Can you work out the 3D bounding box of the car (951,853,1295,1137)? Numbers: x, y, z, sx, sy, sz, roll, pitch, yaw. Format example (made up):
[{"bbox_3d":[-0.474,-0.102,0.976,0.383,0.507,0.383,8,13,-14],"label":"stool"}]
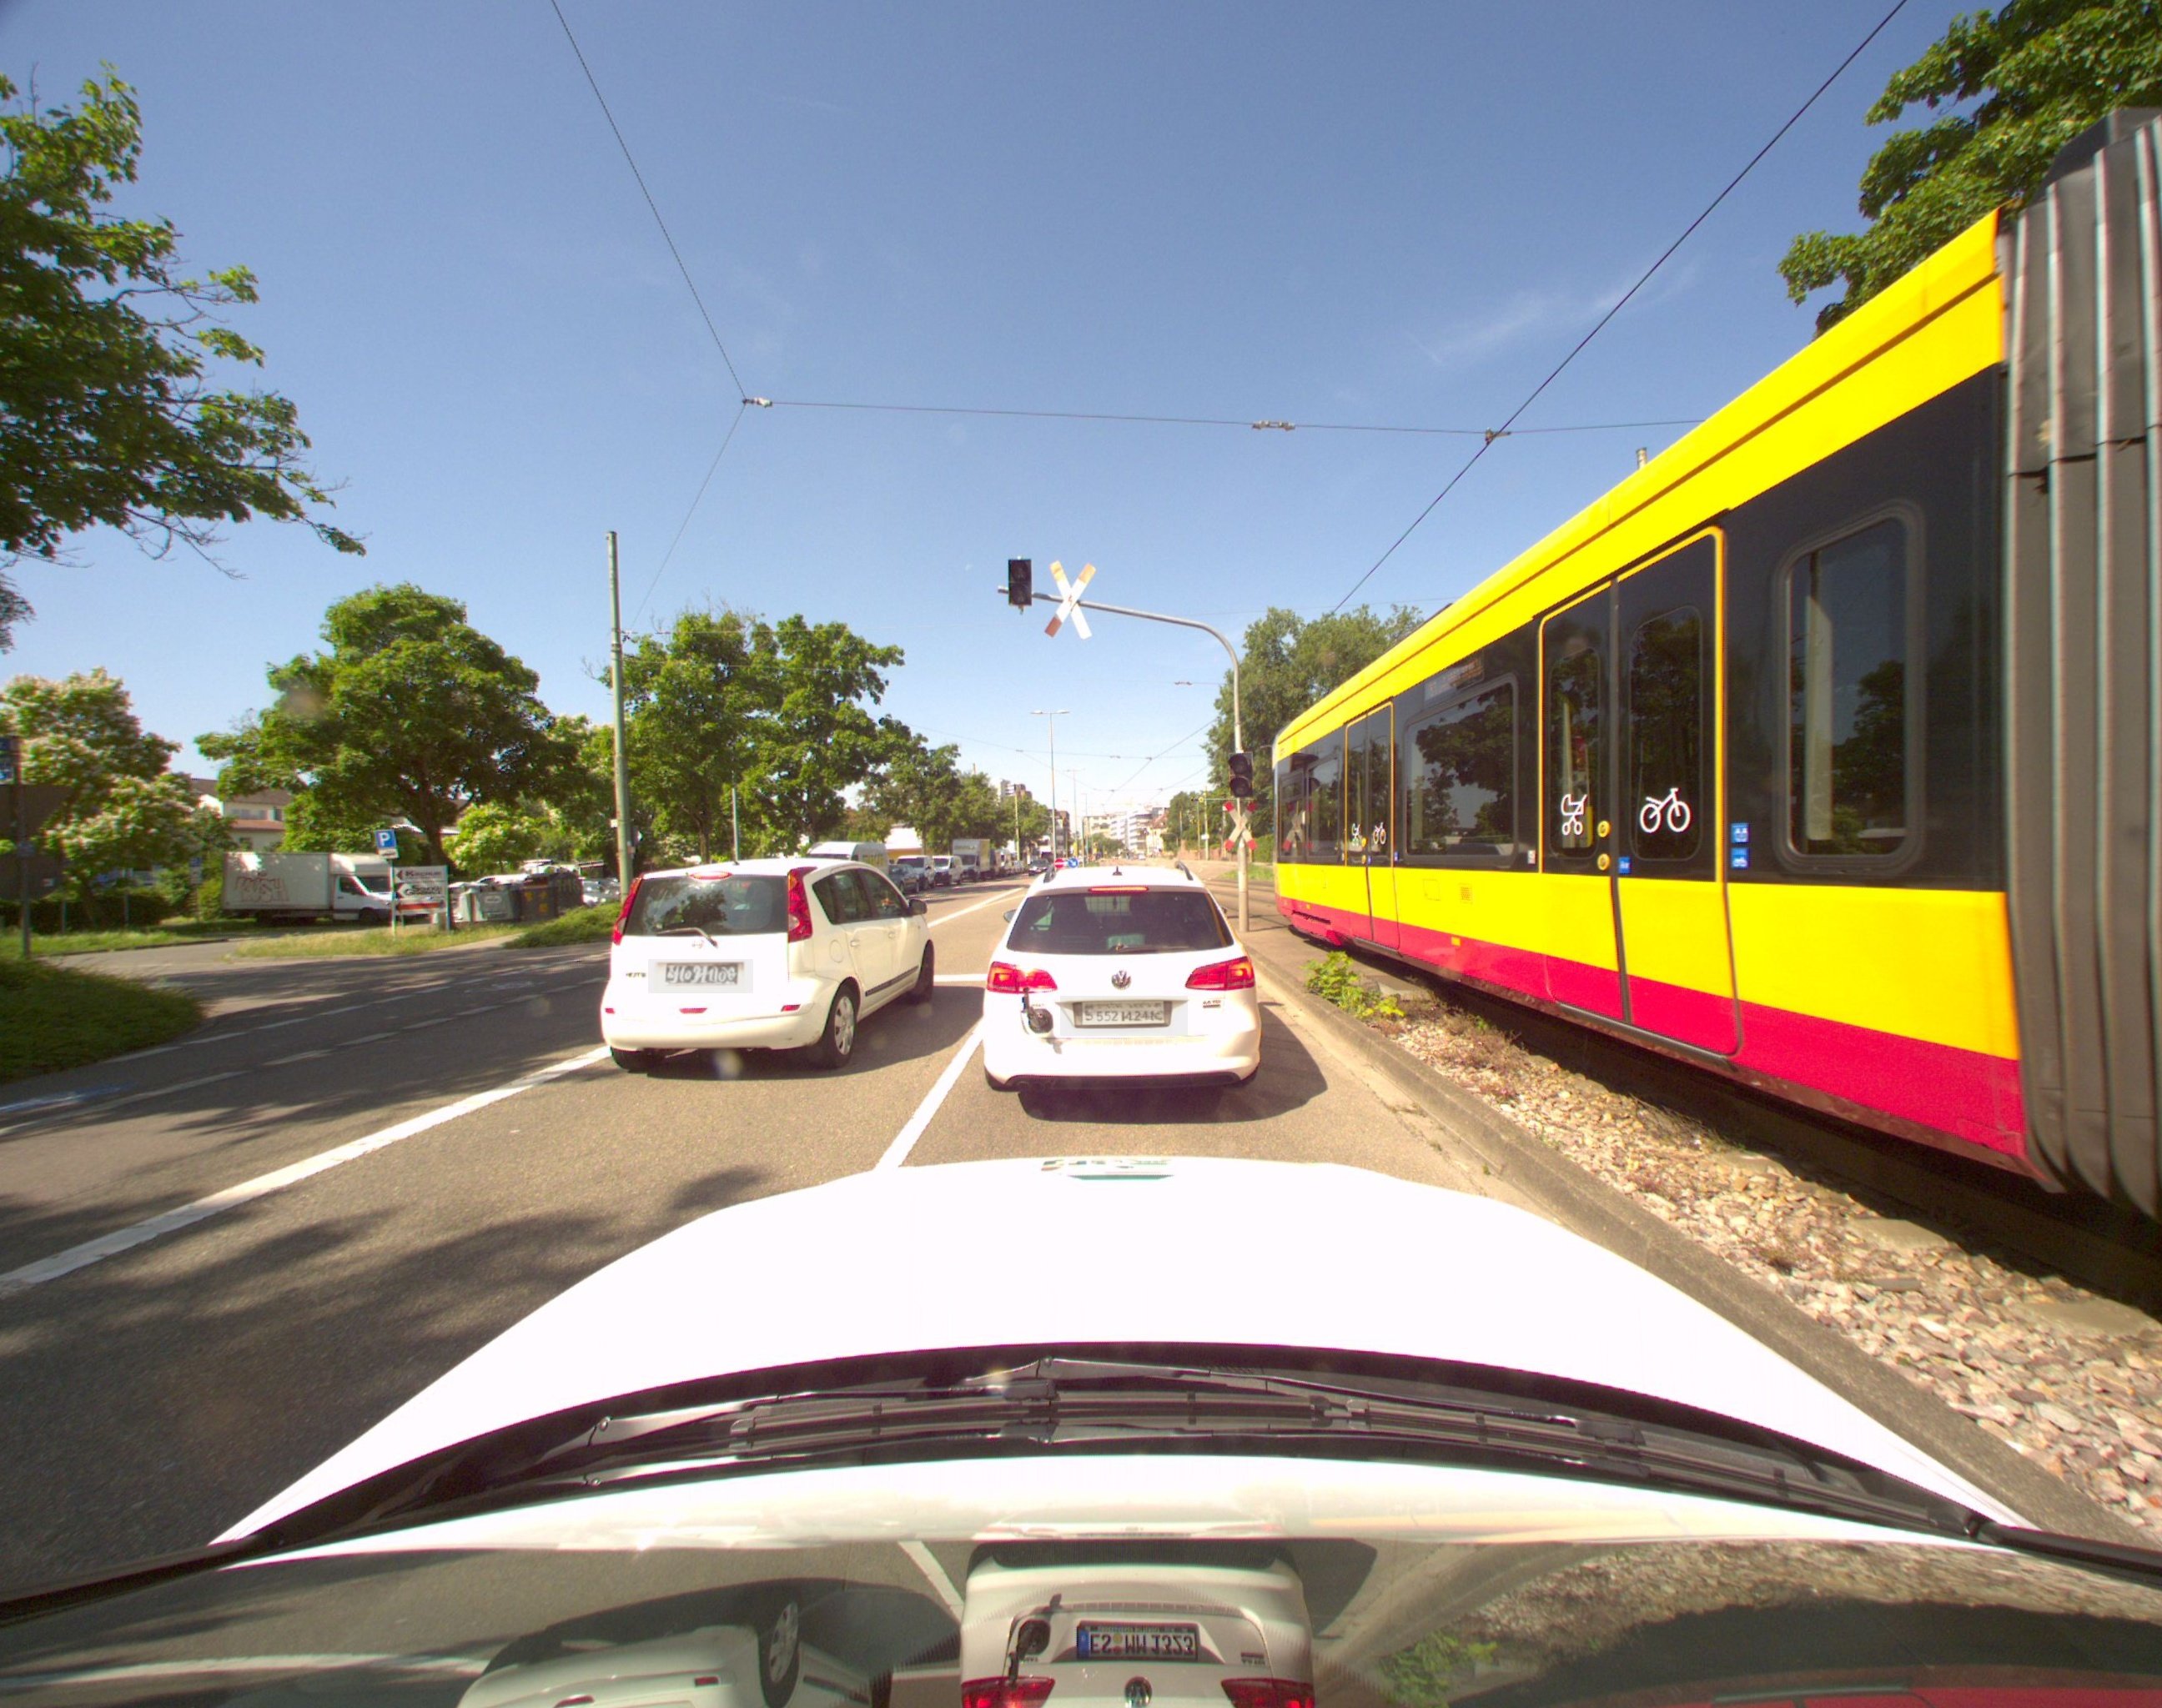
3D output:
[{"bbox_3d":[0.284,0.748,6.315,1.756,1.430,4.002,-3,0,2],"label":"car"}]

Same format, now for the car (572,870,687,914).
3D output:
[{"bbox_3d":[-19.877,1.645,35.996,3.977,1.610,1.729,-4,-1,-3],"label":"car"}]

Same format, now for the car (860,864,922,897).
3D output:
[{"bbox_3d":[-9.033,1.240,39.128,1.856,1.415,4.281,0,0,1],"label":"car"}]

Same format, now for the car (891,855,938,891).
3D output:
[{"bbox_3d":[-9.256,1.011,45.671,1.859,1.868,5.068,0,0,-3],"label":"car"}]

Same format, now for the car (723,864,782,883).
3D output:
[{"bbox_3d":[-31.412,1.854,77.988,4.780,1.787,2.062,0,-1,-3],"label":"car"}]

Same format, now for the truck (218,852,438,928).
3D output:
[{"bbox_3d":[-32.387,1.498,35.233,6.978,3.110,2.677,0,0,0],"label":"truck"}]

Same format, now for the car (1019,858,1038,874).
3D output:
[{"bbox_3d":[-6.319,1.394,98.929,1.856,1.868,5.415,0,0,2],"label":"car"}]

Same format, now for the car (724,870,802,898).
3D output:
[{"bbox_3d":[-19.417,1.844,49.878,3.977,1.415,1.729,-4,-1,-3],"label":"car"}]

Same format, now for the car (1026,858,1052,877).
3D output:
[{"bbox_3d":[-3.576,1.116,70.196,1.698,1.473,4.593,-3,0,3],"label":"car"}]

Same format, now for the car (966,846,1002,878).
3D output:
[{"bbox_3d":[-8.092,0.645,68.679,2.114,2.516,5.737,0,0,3],"label":"car"}]

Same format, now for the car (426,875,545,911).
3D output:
[{"bbox_3d":[-31.725,2.070,43.505,4.780,1.787,2.062,0,-1,-3],"label":"car"}]

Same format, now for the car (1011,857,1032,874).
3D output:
[{"bbox_3d":[-6.705,1.259,92.018,1.856,1.868,5.415,0,0,2],"label":"car"}]

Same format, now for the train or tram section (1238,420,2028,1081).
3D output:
[{"bbox_3d":[4.332,-0.626,10.180,2.860,3.855,10.542,-3,0,2],"label":"train or tram section"}]

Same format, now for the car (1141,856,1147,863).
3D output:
[{"bbox_3d":[17.862,1.598,232.138,1.602,1.863,3.732,0,-1,2],"label":"car"}]

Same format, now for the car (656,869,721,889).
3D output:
[{"bbox_3d":[-35.142,2.230,73.062,4.780,1.787,2.062,0,-1,-3],"label":"car"}]

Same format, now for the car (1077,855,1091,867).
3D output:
[{"bbox_3d":[0.411,0.931,112.865,1.698,1.473,4.593,-3,0,3],"label":"car"}]

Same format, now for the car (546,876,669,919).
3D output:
[{"bbox_3d":[-19.631,1.786,33.857,3.977,1.415,1.729,-4,-1,-3],"label":"car"}]

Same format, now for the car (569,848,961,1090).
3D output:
[{"bbox_3d":[-2.414,0.755,7.603,1.655,1.547,4.550,-1,0,3],"label":"car"}]

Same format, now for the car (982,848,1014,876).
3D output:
[{"bbox_3d":[-7.711,0.708,76.111,2.114,2.516,5.737,0,0,3],"label":"car"}]

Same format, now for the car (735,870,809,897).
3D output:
[{"bbox_3d":[-19.746,1.890,52.185,3.977,1.415,1.729,-4,-1,-3],"label":"car"}]

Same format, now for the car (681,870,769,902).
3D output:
[{"bbox_3d":[-19.496,1.743,44.728,3.977,1.415,1.729,-4,-1,-3],"label":"car"}]

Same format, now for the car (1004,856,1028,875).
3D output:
[{"bbox_3d":[-6.760,1.204,85.200,1.856,1.868,5.415,0,0,2],"label":"car"}]

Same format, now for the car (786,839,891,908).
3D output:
[{"bbox_3d":[-9.546,0.702,32.666,2.114,2.516,5.822,0,0,4],"label":"car"}]

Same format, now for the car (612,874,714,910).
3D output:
[{"bbox_3d":[-20.256,1.824,39.601,3.977,1.415,1.729,-4,-1,-3],"label":"car"}]

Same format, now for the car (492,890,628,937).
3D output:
[{"bbox_3d":[-19.865,2.250,31.164,3.977,1.415,1.729,-4,-1,-3],"label":"car"}]

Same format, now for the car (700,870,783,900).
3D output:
[{"bbox_3d":[-19.565,1.789,47.062,3.977,1.415,1.729,-4,-1,-3],"label":"car"}]

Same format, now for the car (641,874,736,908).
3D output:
[{"bbox_3d":[-20.299,1.892,42.209,3.977,1.415,1.729,-4,-1,-3],"label":"car"}]

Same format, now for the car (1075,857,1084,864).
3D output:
[{"bbox_3d":[-0.287,1.595,193.438,1.698,1.473,4.593,-3,0,3],"label":"car"}]

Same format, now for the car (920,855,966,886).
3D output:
[{"bbox_3d":[-8.774,1.034,52.260,1.856,1.868,5.415,0,0,2],"label":"car"}]

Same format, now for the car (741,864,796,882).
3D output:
[{"bbox_3d":[-31.710,1.897,82.783,4.780,1.787,2.062,0,-1,-3],"label":"car"}]

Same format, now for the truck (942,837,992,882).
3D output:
[{"bbox_3d":[-8.395,0.395,60.683,2.411,3.150,7.001,0,0,3],"label":"truck"}]
